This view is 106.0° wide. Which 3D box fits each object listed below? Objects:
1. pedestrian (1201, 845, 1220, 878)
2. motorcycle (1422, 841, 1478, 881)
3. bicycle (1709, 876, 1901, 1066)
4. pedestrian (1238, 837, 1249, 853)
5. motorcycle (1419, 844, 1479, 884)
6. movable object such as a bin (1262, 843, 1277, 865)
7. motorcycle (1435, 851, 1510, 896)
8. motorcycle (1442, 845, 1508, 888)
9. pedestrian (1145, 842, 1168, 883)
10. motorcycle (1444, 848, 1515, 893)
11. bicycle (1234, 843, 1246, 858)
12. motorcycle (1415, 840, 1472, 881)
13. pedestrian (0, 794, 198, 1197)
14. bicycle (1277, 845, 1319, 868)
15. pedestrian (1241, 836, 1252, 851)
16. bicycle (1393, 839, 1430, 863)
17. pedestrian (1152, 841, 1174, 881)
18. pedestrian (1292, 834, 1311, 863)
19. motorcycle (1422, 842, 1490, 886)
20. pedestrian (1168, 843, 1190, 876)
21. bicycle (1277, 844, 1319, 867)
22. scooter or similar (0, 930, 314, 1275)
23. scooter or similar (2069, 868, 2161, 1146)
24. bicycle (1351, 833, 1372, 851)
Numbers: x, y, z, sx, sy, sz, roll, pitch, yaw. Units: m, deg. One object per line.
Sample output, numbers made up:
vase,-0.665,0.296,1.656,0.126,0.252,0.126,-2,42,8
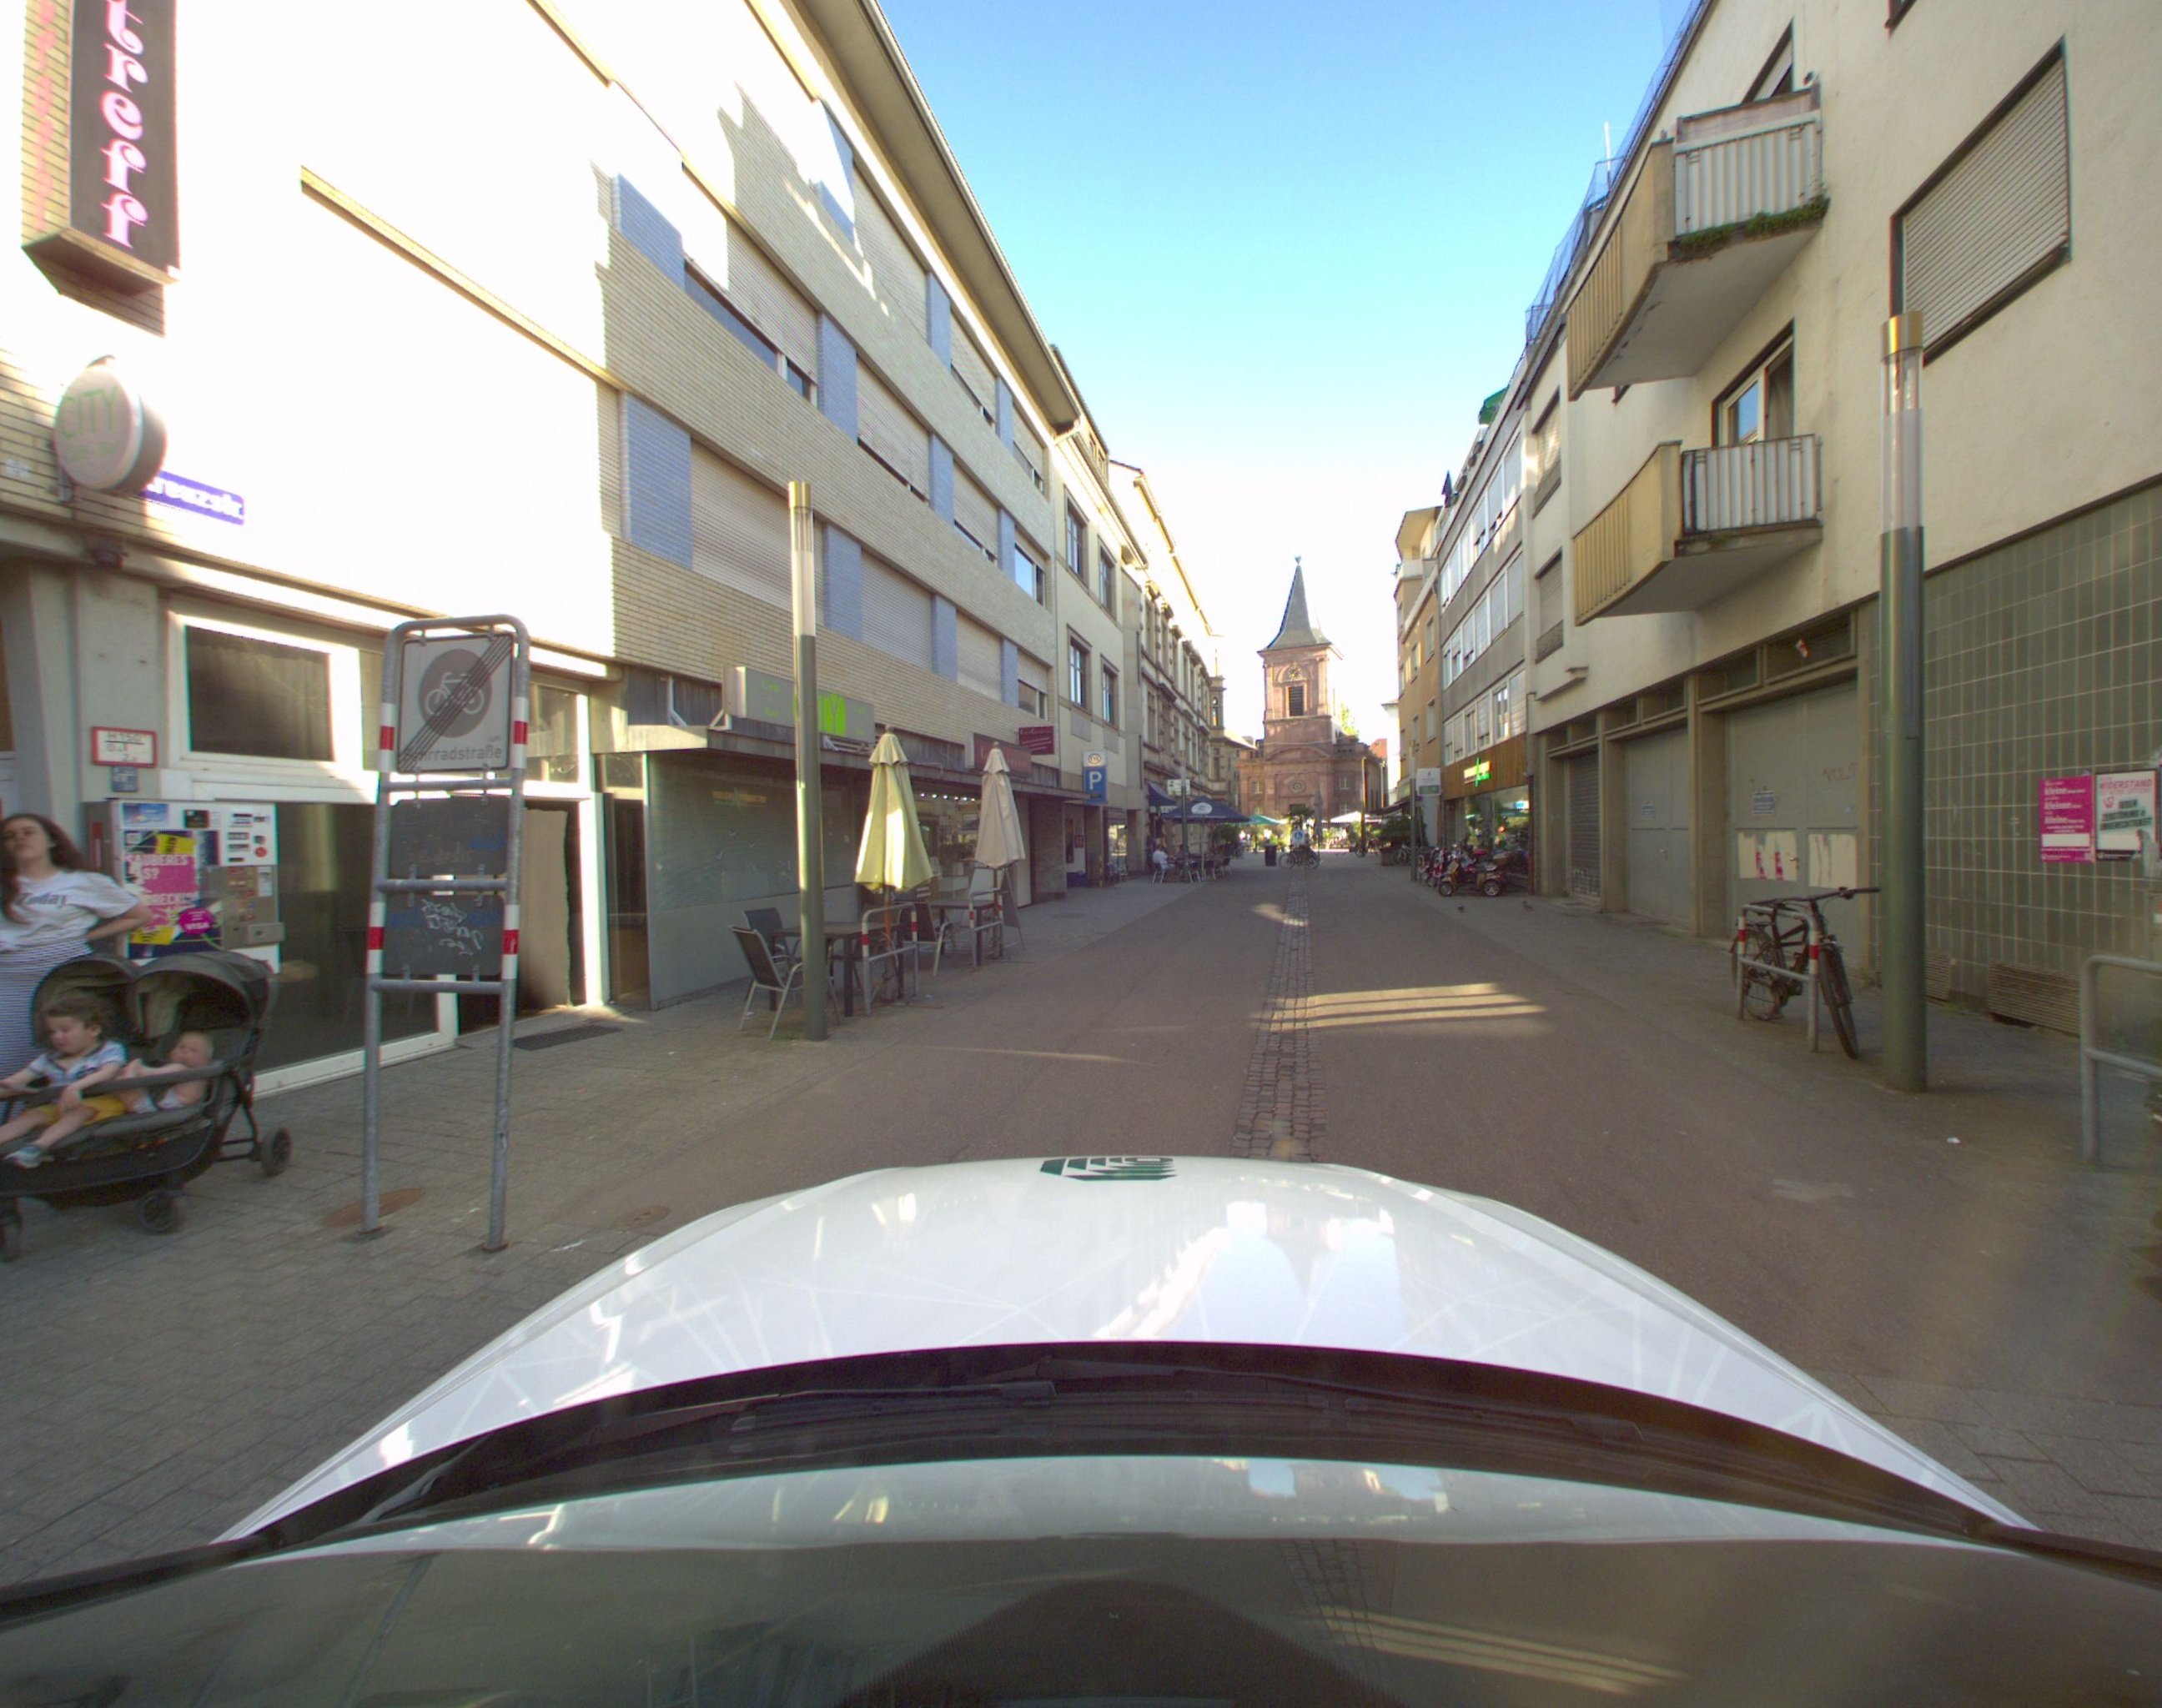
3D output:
pedestrian,4.935,0.281,31.108,0.688,1.215,0.584,-1,1,7
motorcycle,11.221,0.222,24.781,1.469,1.181,0.415,-2,1,30
bicycle,5.202,0.753,5.967,0.443,1.140,1.718,-1,0,20
pedestrian,12.712,-0.732,63.596,0.694,1.217,0.723,-1,1,21
motorcycle,10.421,0.289,23.089,1.469,1.075,0.415,-1,1,33
movable object such as a bin,9.365,0.012,40.423,0.716,1.074,0.375,-1,1,13
motorcycle,9.315,0.472,19.421,1.549,1.041,0.375,-1,1,33
motorcycle,10.186,0.335,21.059,1.469,1.075,0.415,-1,1,33
pedestrian,2.593,0.297,28.048,0.705,1.368,0.720,-1,1,3
motorcycle,9.803,0.403,20.069,1.502,1.075,0.415,-1,1,33
bicycle,9.700,-0.204,49.635,0.453,0.849,2.157,-1,1,18
motorcycle,10.651,0.202,23.942,1.469,1.181,0.415,-2,1,30
pedestrian,-4.993,0.638,3.992,0.663,1.819,0.565,-5,4,-34
bicycle,9.815,0.128,36.855,1.811,1.004,0.382,-1,1,11
pedestrian,13.186,-0.831,64.956,0.694,1.217,0.723,-1,1,21
bicycle,14.303,-0.135,35.260,1.450,1.004,0.576,-1,1,22
pedestrian,2.920,0.247,29.020,0.714,1.368,0.711,-1,1,3
pedestrian,11.183,-0.292,41.242,0.877,1.464,0.734,-1,1,15
motorcycle,10.254,0.284,22.296,1.609,1.175,0.483,-1,1,33
pedestrian,3.698,0.199,30.749,0.761,1.233,0.833,-1,1,7
bicycle,9.921,0.050,37.248,1.811,1.004,0.382,-1,1,11
scooter or similar,-4.064,0.984,3.588,0.802,1.143,0.944,-2,2,-33
scooter or similar,5.037,0.711,3.489,0.305,1.252,1.243,-1,1,12
bicycle,20.983,-0.896,60.913,1.588,1.308,0.364,-2,1,-14
